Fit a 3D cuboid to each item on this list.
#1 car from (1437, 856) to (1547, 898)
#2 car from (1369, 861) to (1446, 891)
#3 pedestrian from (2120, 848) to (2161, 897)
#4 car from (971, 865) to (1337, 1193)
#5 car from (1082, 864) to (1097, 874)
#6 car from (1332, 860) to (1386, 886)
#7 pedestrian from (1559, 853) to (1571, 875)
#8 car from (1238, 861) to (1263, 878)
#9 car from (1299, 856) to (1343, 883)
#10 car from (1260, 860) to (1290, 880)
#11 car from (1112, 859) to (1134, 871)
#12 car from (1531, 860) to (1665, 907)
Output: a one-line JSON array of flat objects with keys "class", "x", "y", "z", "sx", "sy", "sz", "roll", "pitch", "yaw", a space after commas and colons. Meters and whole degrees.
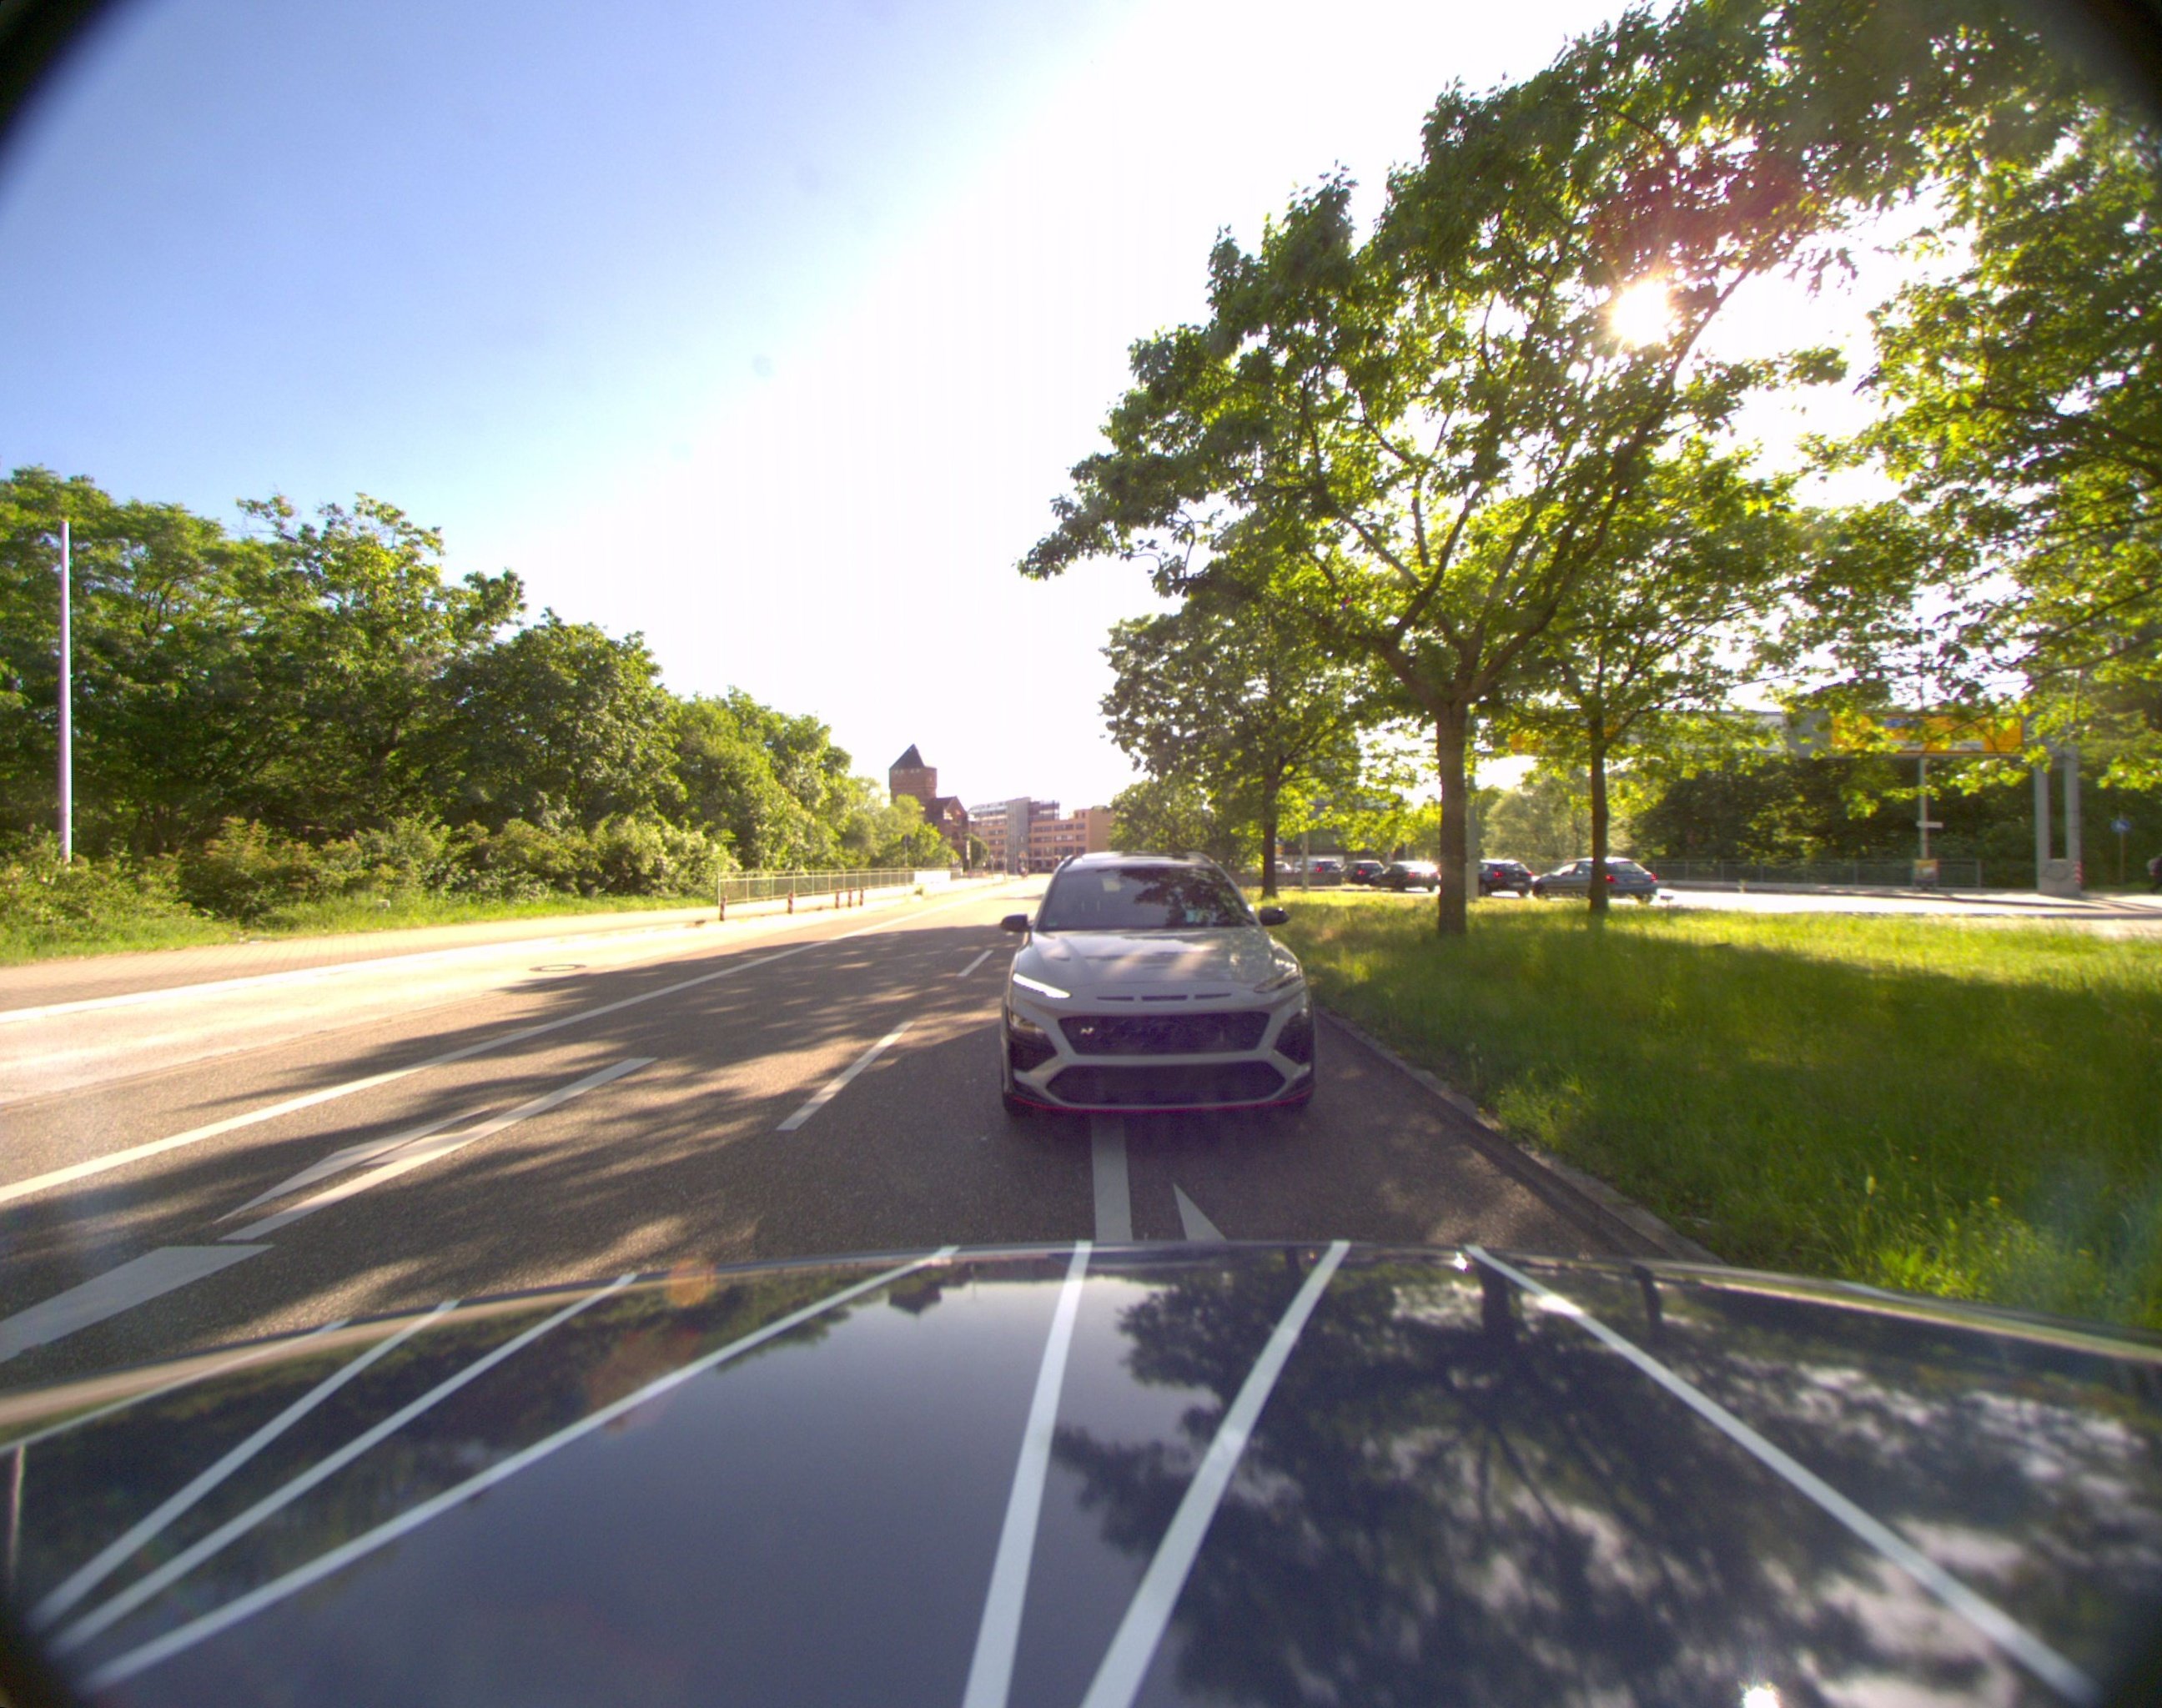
[{"class": "car", "x": 16.179, "y": 0.850, "z": 30.151, "sx": 1.875, "sy": 1.541, "sz": 4.221, "roll": -1, "pitch": 0, "yaw": -4}, {"class": "car", "x": 15.467, "y": 1.002, "z": 36.224, "sx": 1.623, "sy": 1.305, "sz": 4.066, "roll": -1, "pitch": 0, "yaw": -6}, {"class": "pedestrian", "x": 36.303, "y": 0.611, "z": 25.726, "sx": 0.914, "sy": 1.620, "sz": 0.988, "roll": -1, "pitch": 0, "yaw": -7}, {"class": "car", "x": 0.382, "y": 0.884, "z": 5.689, "sx": 1.752, "sy": 1.523, "sz": 3.988, "roll": -1, "pitch": 0, "yaw": 1}, {"class": "car", "x": 1.394, "y": 2.462, "z": 122.248, "sx": 1.676, "sy": 1.463, "sz": 4.154, "roll": -1, "pitch": 0, "yaw": 10}, {"class": "car", "x": 15.142, "y": 1.039, "z": 41.481, "sx": 1.481, "sy": 1.331, "sz": 3.202, "roll": -1, "pitch": -1, "yaw": -6}, {"class": "pedestrian", "x": 32.738, "y": 0.665, "z": 51.346, "sx": 0.421, "sy": 1.490, "sz": 0.545, "roll": -1, "pitch": 0, "yaw": -7}, {"class": "car", "x": 13.922, "y": 1.288, "z": 62.438, "sx": 1.199, "sy": 1.252, "sz": 2.768, "roll": -1, "pitch": -2, "yaw": -6}, {"class": "car", "x": 14.967, "y": 0.996, "z": 47.489, "sx": 1.450, "sy": 1.549, "sz": 3.202, "roll": -1, "pitch": -2, "yaw": -6}, {"class": "car", "x": 14.311, "y": 1.215, "z": 56.132, "sx": 1.228, "sy": 1.331, "sz": 2.882, "roll": -1, "pitch": -3, "yaw": -6}, {"class": "car", "x": 7.392, "y": 1.947, "z": 133.247, "sx": 1.955, "sy": 2.002, "sz": 4.008, "roll": -1, "pitch": 0, "yaw": 38}, {"class": "car", "x": 16.379, "y": 0.886, "z": 24.281, "sx": 1.561, "sy": 1.355, "sz": 3.608, "roll": -1, "pitch": -1, "yaw": -6}]
